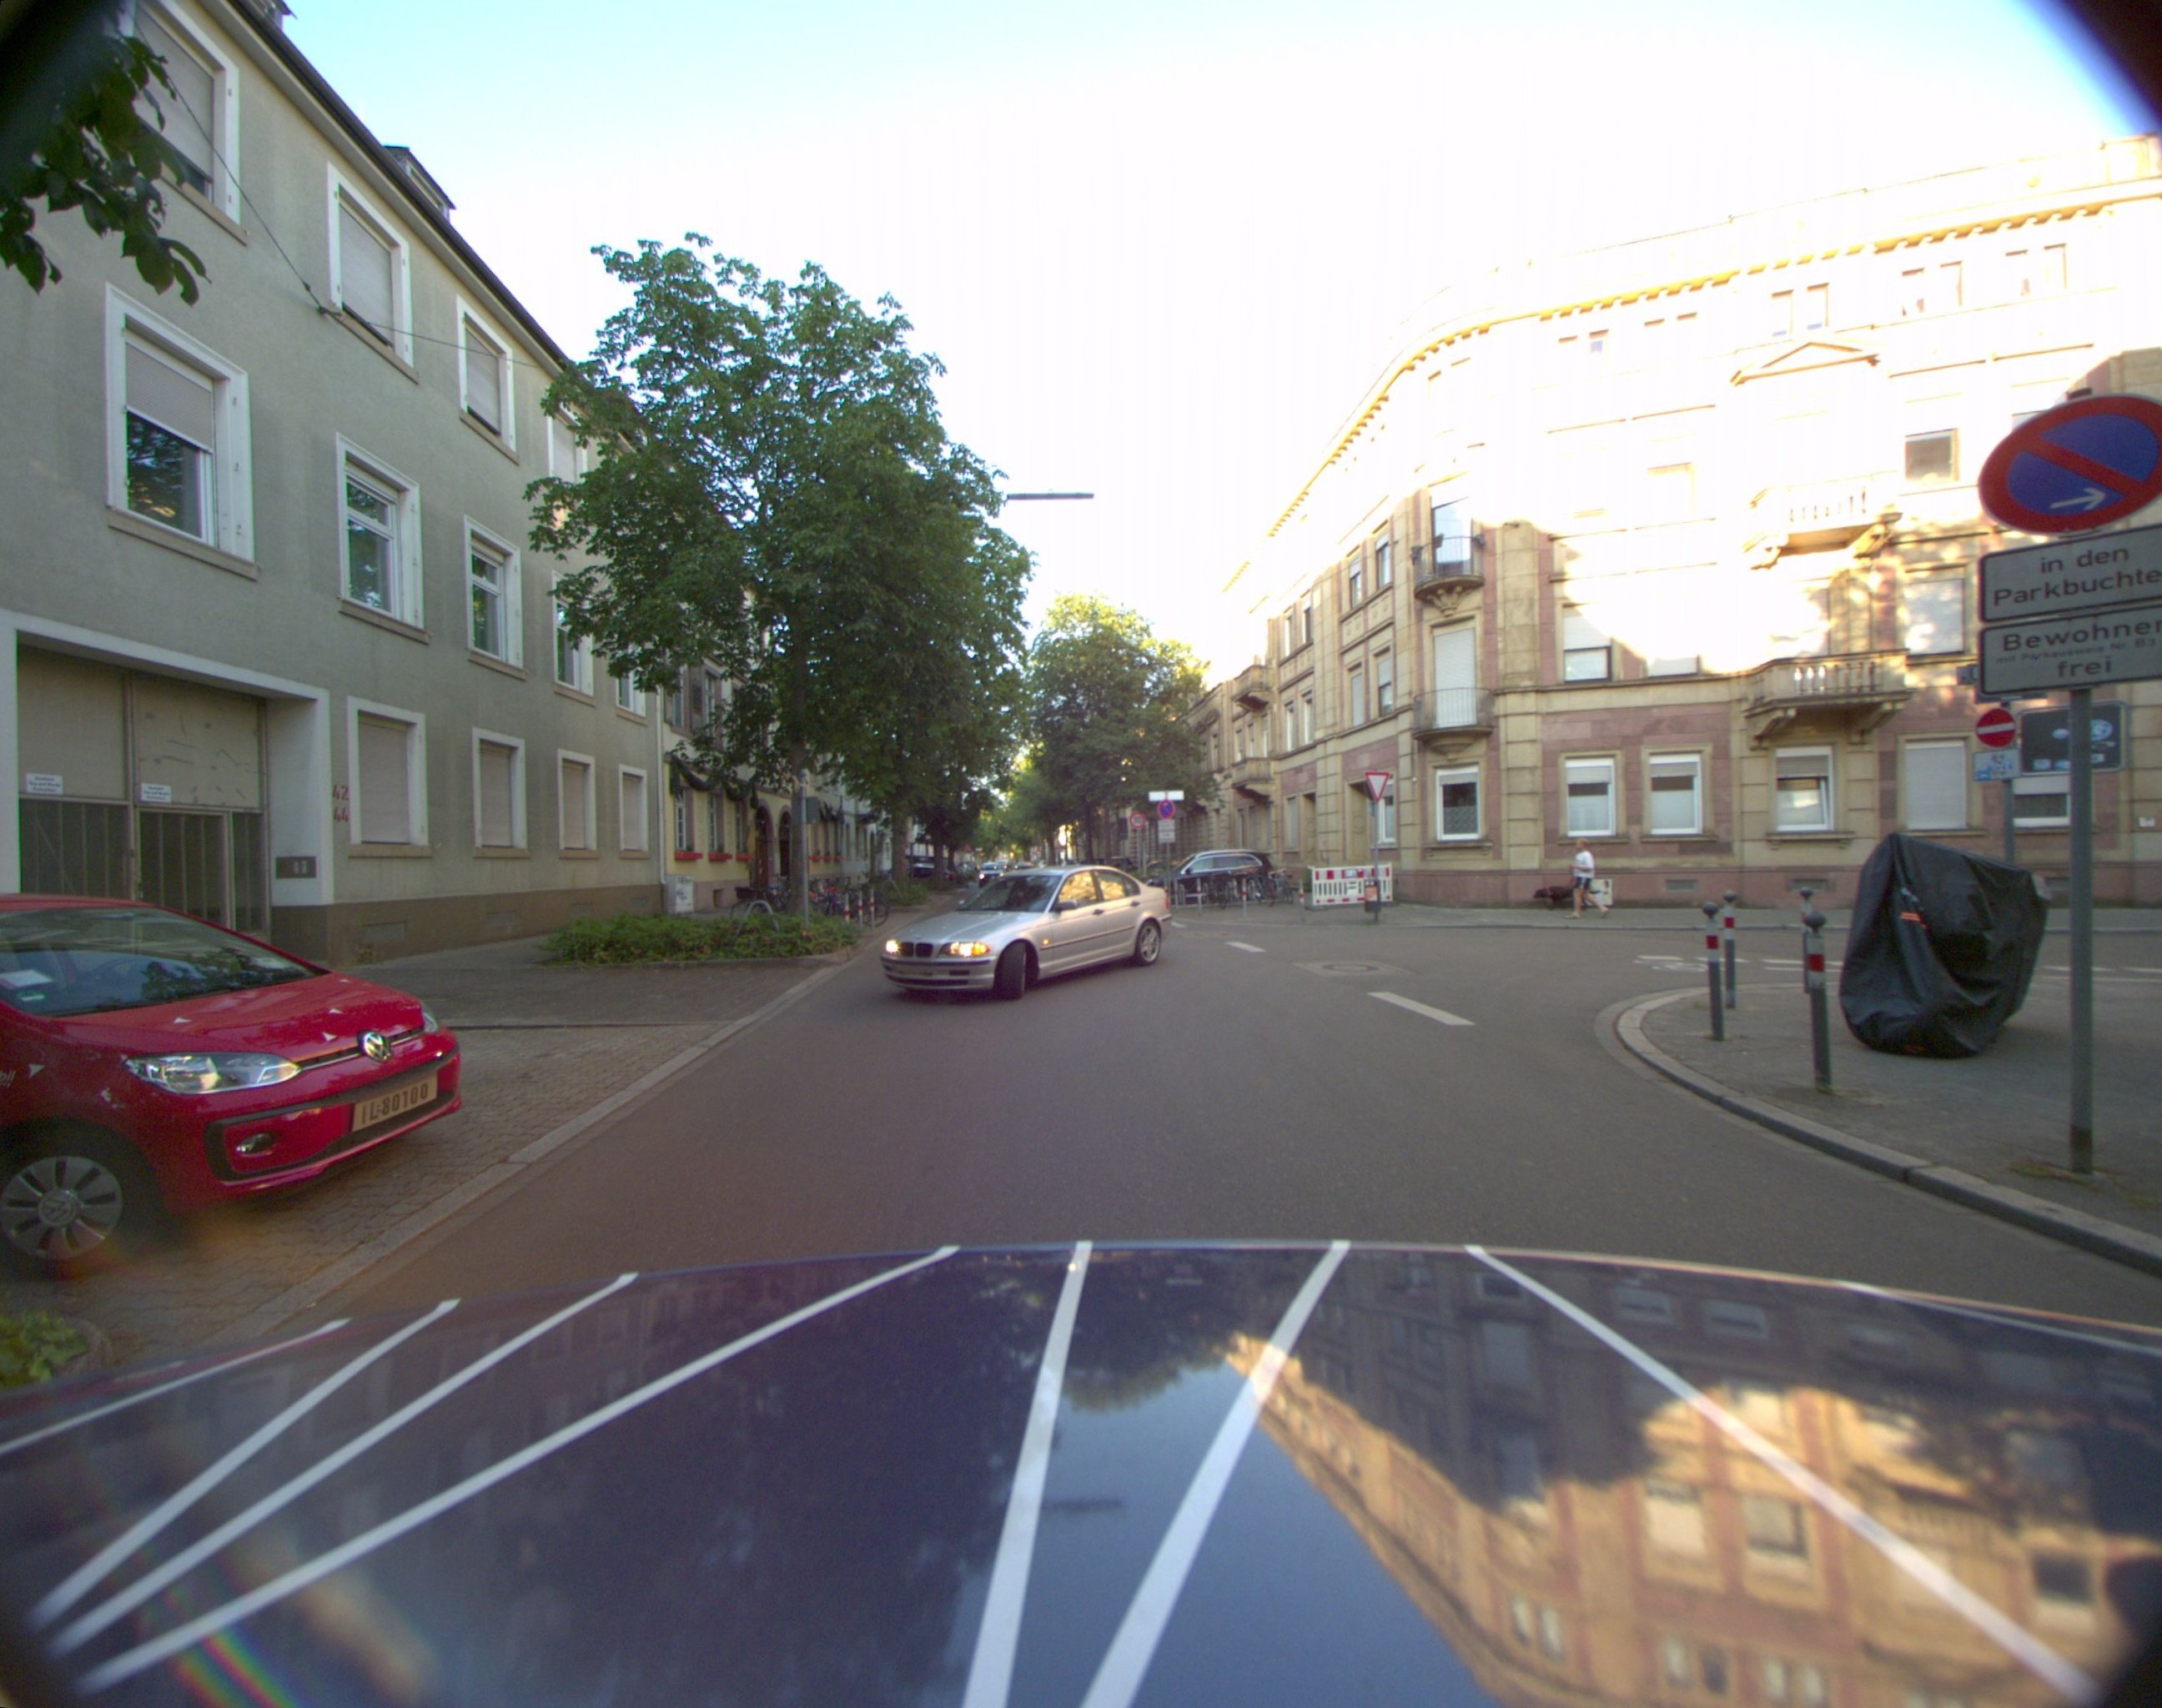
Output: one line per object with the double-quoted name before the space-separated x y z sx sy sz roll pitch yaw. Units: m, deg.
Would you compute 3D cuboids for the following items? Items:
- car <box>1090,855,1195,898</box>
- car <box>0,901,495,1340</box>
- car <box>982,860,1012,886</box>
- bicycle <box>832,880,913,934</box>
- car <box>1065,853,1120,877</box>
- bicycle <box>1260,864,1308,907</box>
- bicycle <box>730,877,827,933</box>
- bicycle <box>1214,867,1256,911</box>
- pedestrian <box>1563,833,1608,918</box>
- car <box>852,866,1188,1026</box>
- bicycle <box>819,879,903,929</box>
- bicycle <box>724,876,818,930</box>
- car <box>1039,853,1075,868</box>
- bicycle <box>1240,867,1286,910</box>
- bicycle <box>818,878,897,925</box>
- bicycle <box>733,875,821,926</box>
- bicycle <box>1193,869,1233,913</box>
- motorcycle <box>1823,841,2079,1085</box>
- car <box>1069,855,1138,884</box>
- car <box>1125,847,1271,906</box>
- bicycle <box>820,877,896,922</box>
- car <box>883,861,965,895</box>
"car" 2.531 0.917 32.088 4.243 1.668 1.742 -1 0 -1
"car" -5.164 1.043 3.414 3.621 1.468 1.663 -1 0 -7
"car" -5.478 1.205 49.918 1.806 1.543 3.998 -1 0 -4
"bicycle" -5.036 1.256 18.399 1.849 1.220 0.535 -1 0 -16
"car" 0.864 0.866 60.852 4.245 1.749 1.741 -1 0 -5
"bicycle" 5.795 0.876 21.820 0.562 1.144 2.038 -1 0 -8
"bicycle" -7.033 1.172 17.750 2.030 1.220 0.535 -1 0 -16
"bicycle" 4.383 0.979 21.729 0.562 1.144 2.038 -1 0 -6
"pedestrian" 10.801 0.457 16.290 0.650 1.797 0.574 -1 1 18
"car" -0.498 0.935 9.669 1.708 1.433 4.445 -1 0 37
"bicycle" -5.660 1.283 19.639 2.029 1.220 0.535 -1 0 -11
"bicycle" -7.493 1.182 18.452 2.030 1.220 0.535 -1 0 -16
"car" -2.964 0.745 92.538 4.245 1.749 1.741 -1 0 -5
"bicycle" 5.176 0.956 21.771 0.562 1.144 2.038 -1 0 -8
"bicycle" -6.127 1.287 20.920 2.029 1.220 0.535 -1 0 -11
"bicycle" -7.814 1.182 19.598 2.029 1.220 0.535 -1 0 -13
"bicycle" 3.744 1.023 21.660 0.562 1.144 2.038 -1 0 -6
"motorcycle" 6.496 0.674 5.638 2.286 1.496 0.816 -1 1 -30
"car" 1.410 0.956 48.381 4.245 1.749 1.741 -1 0 -5
"car" 3.725 0.690 24.644 4.422 1.771 1.742 -1 0 -1
"bicycle" -6.368 1.286 21.790 2.029 1.220 0.535 -1 0 -11
"car" -8.554 1.277 41.671 4.245 1.729 1.741 -1 0 -6
